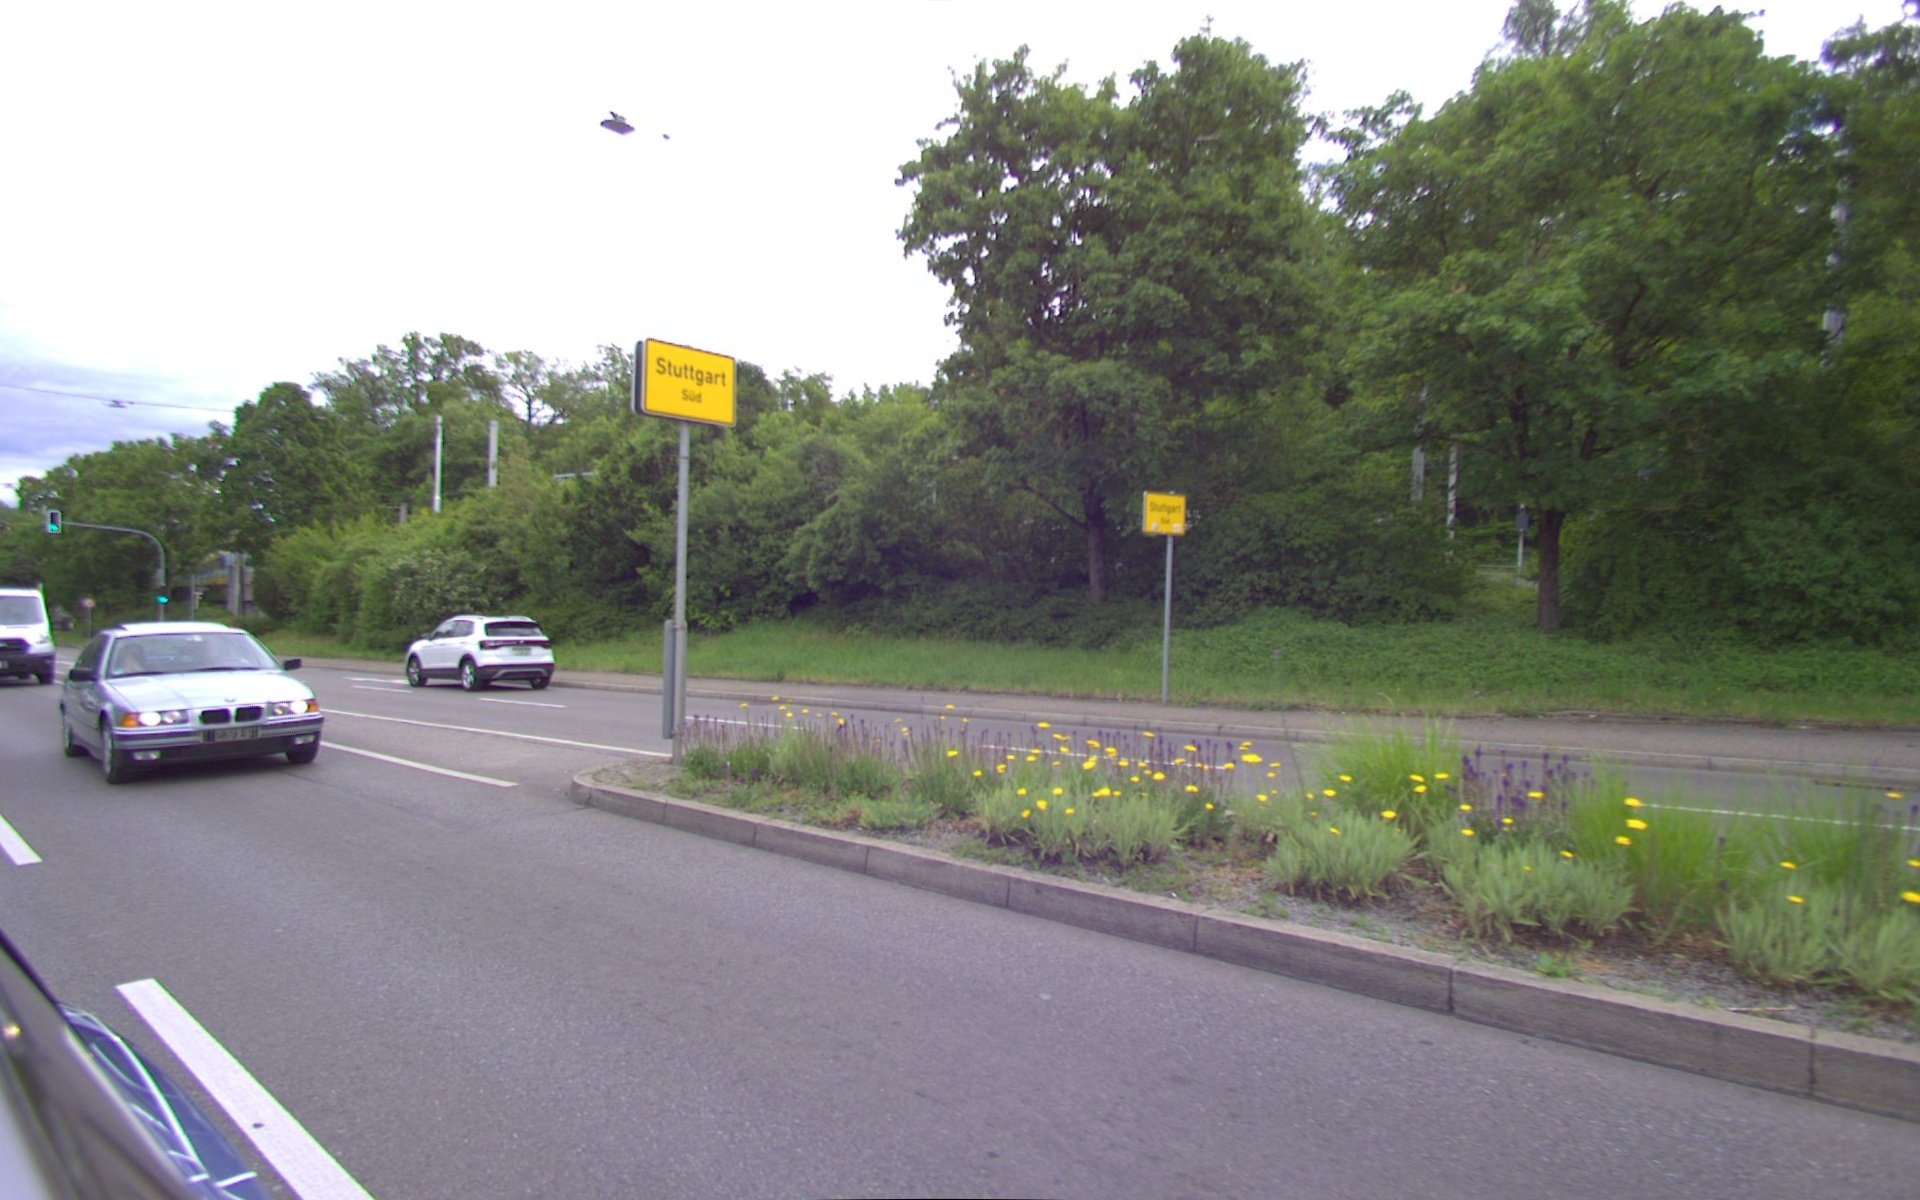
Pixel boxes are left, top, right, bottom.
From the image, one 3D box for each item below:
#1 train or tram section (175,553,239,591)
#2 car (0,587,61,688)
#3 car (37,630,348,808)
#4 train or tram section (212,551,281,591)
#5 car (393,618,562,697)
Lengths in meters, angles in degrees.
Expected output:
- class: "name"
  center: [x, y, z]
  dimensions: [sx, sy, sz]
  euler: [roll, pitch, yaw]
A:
- class: "train or tram section"
  center: [-63.754, -2.315, 85.592]
  dimensions: [8.136, 3.066, 2.039]
  euler: [0, 1, 36]
- class: "car"
  center: [-23.021, 0.868, 23.497]
  dimensions: [6.663, 2.142, 2.225]
  euler: [-1, -1, 40]
- class: "car"
  center: [-7.929, 1.007, 10.269]
  dimensions: [4.615, 1.404, 1.734]
  euler: [-2, -2, 43]
- class: "train or tram section"
  center: [-57.076, -2.266, 80.853]
  dimensions: [8.136, 3.066, 2.039]
  euler: [0, 1, 36]
- class: "car"
  center: [-10.602, 1.197, 22.125]
  dimensions: [4.037, 1.552, 1.712]
  euler: [-1, -1, 38]
